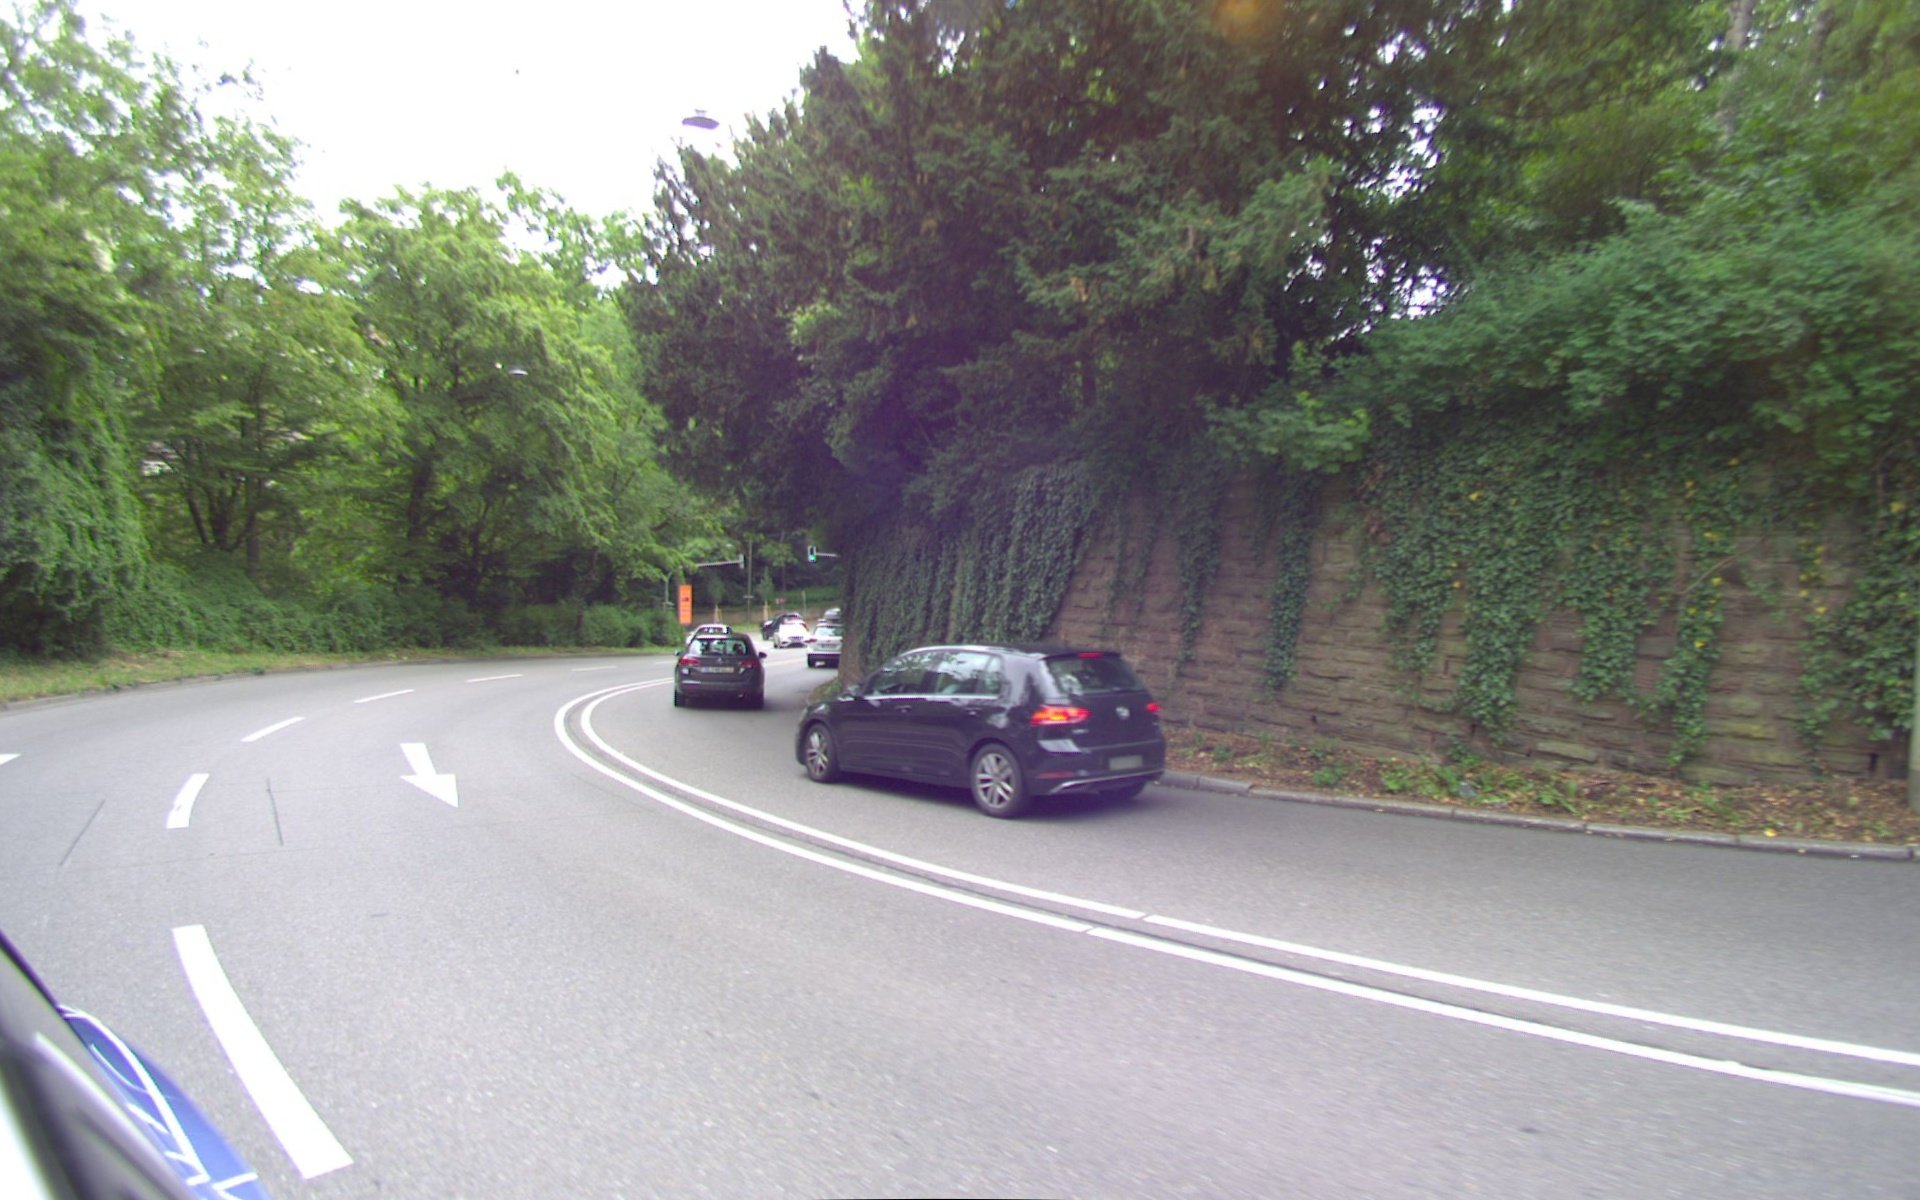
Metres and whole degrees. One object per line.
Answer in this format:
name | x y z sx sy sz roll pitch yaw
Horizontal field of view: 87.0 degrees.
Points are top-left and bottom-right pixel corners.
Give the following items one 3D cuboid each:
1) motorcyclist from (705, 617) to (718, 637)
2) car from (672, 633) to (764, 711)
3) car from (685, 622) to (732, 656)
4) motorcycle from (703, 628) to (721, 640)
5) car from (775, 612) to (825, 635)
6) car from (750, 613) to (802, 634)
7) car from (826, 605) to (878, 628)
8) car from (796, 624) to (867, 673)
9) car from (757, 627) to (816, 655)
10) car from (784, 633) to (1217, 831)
motorcyclist | -19.694 2.138 80.323 0.736 1.541 1.098 1 -1 -27
car | -5.090 1.437 21.103 1.635 1.451 4.307 2 -2 -15
car | -12.346 1.876 49.877 1.887 1.563 4.535 1 -2 -9
motorcycle | -19.643 2.704 80.214 0.797 0.896 2.437 1 -1 -27
car | -12.078 1.752 76.032 1.825 1.661 4.521 1 -1 -36
car | -15.738 1.952 86.416 3.933 1.368 1.759 -6 3 -30
car | -9.709 1.445 91.082 1.809 1.696 4.478 -1 4 45
car | -4.693 1.770 37.485 1.752 1.665 4.381 2 -2 4
car | -10.203 2.394 59.272 1.885 1.489 4.540 4 -3 -31
car | 0.194 1.071 9.584 1.780 1.454 4.004 1 -3 -43
